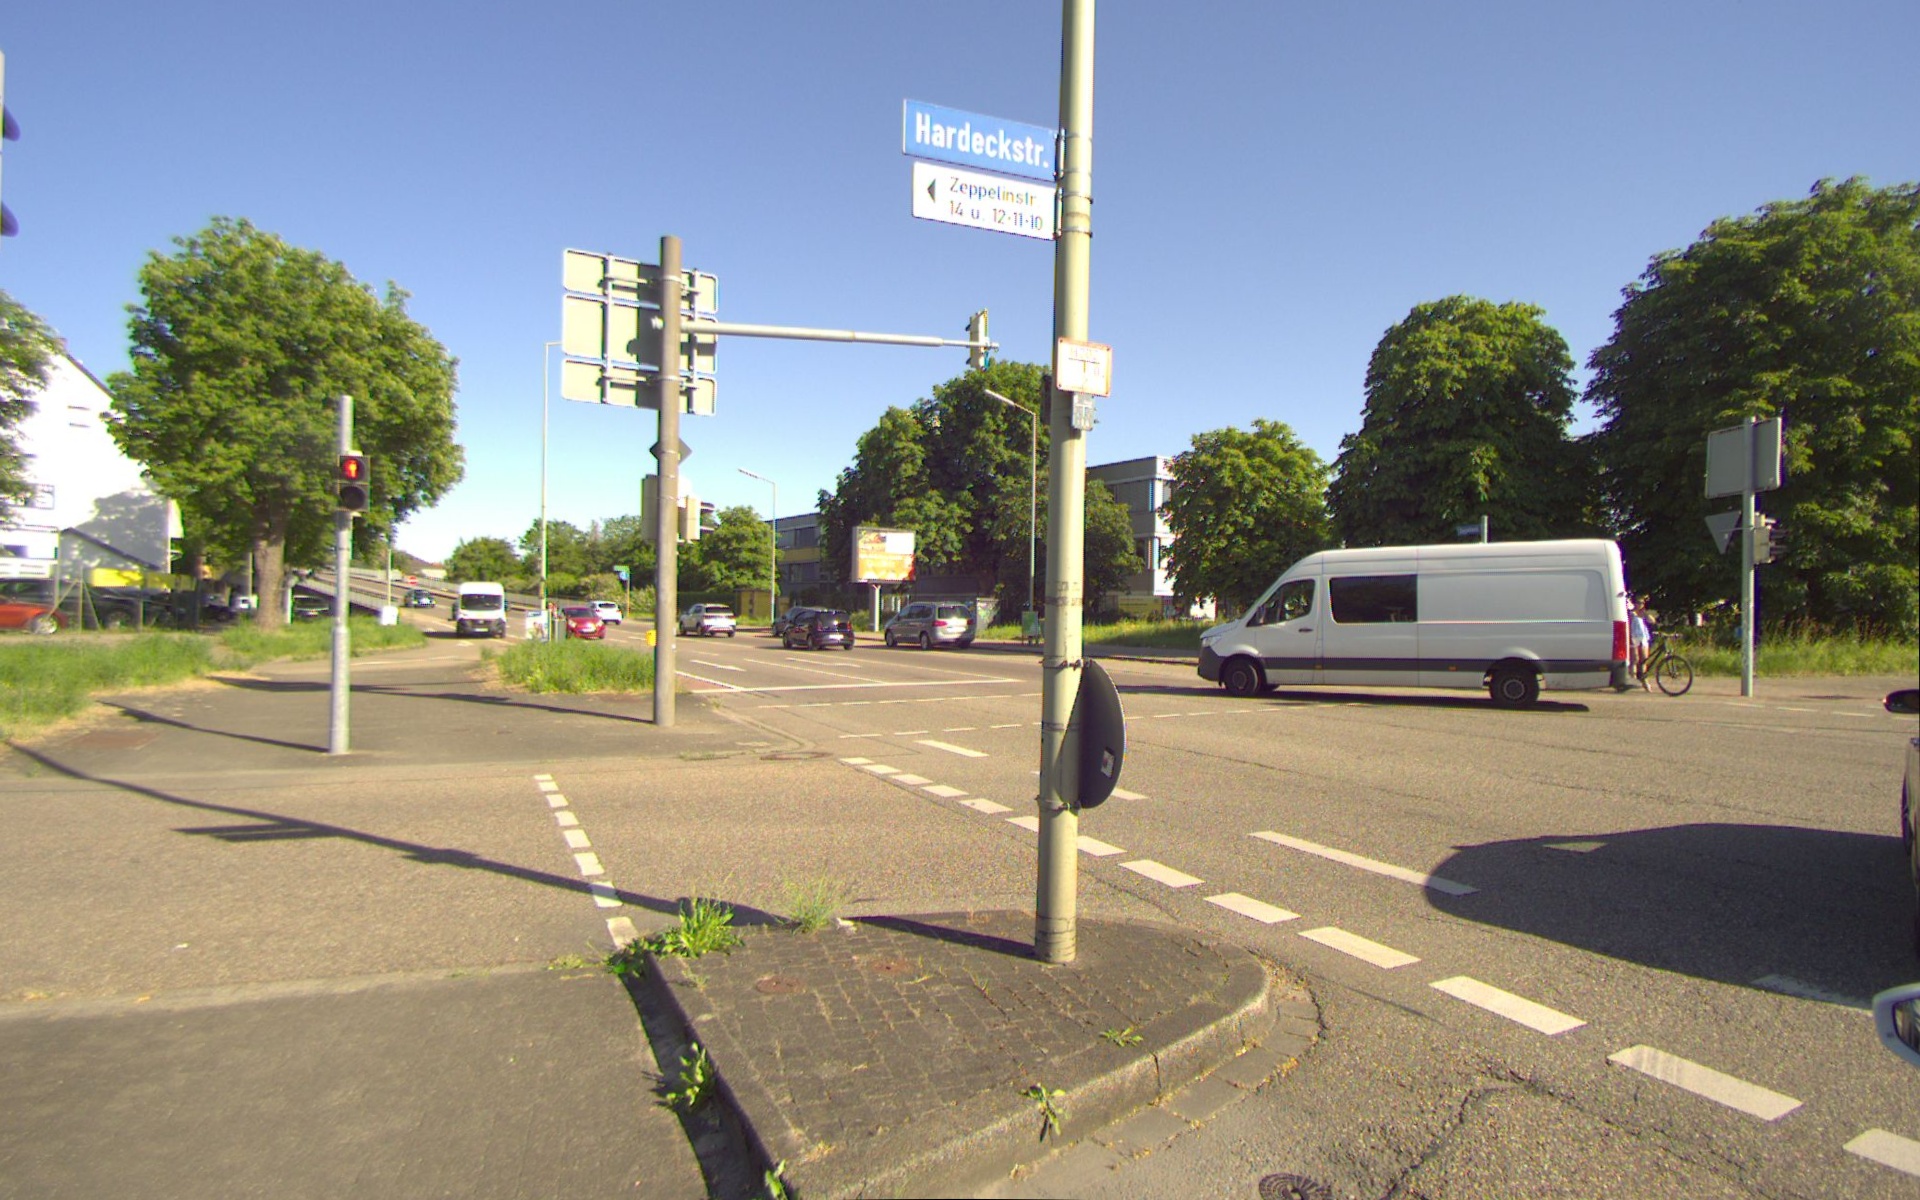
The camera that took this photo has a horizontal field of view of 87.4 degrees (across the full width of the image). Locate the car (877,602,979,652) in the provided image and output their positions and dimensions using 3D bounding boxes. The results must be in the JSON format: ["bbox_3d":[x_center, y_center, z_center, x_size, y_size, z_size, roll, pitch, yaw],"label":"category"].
[{"bbox_3d":[-1.279,0.964,37.855,1.857,1.745,4.574,-1,0,-31],"label":"car"}]

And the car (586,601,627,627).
[{"bbox_3d":[-22.651,0.890,64.253,1.860,1.564,3.970,2,0,-29],"label":"car"}]

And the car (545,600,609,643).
[{"bbox_3d":[-17.253,0.929,45.175,1.839,1.759,4.231,1,0,-33],"label":"car"}]

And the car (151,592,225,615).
[{"bbox_3d":[-53.496,0.266,69.647,1.750,1.530,3.667,2,0,24],"label":"car"}]

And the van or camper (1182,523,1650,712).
[{"bbox_3d":[7.615,0.195,17.464,6.952,2.775,2.230,2,0,29],"label":"van or camper"}]

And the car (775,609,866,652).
[{"bbox_3d":[-5.215,1.070,37.053,1.902,1.508,4.236,0,0,-30],"label":"car"}]

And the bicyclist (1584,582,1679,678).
[{"bbox_3d":[12.532,0.542,18.784,0.876,1.715,1.188,2,0,-10],"label":"bicyclist"}]

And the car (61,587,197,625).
[{"bbox_3d":[-37.329,0.291,45.240,1.783,1.596,4.396,2,0,34],"label":"car"}]

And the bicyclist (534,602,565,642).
[{"bbox_3d":[-15.046,0.807,36.793,0.925,1.420,0.816,2,0,-30],"label":"bicyclist"}]

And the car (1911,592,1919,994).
[{"bbox_3d":[5.881,0.817,4.756,3.960,1.614,1.753,2,-1,-43],"label":"car"}]

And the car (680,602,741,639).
[{"bbox_3d":[-12.126,0.956,48.680,1.975,1.702,3.970,0,0,-29],"label":"car"}]

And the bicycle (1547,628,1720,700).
[{"bbox_3d":[12.503,1.146,18.820,0.887,1.140,2.948,2,0,-10],"label":"bicycle"}]

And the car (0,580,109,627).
[{"bbox_3d":[-28.210,0.085,28.999,2.315,1.327,5.058,2,0,22],"label":"car"}]

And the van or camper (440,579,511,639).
[{"bbox_3d":[-22.939,0.417,47.377,2.575,2.617,6.559,0,0,-30],"label":"van or camper"}]

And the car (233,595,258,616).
[{"bbox_3d":[-70.625,0.518,99.315,1.911,2.017,4.213,2,0,-36],"label":"car"}]
